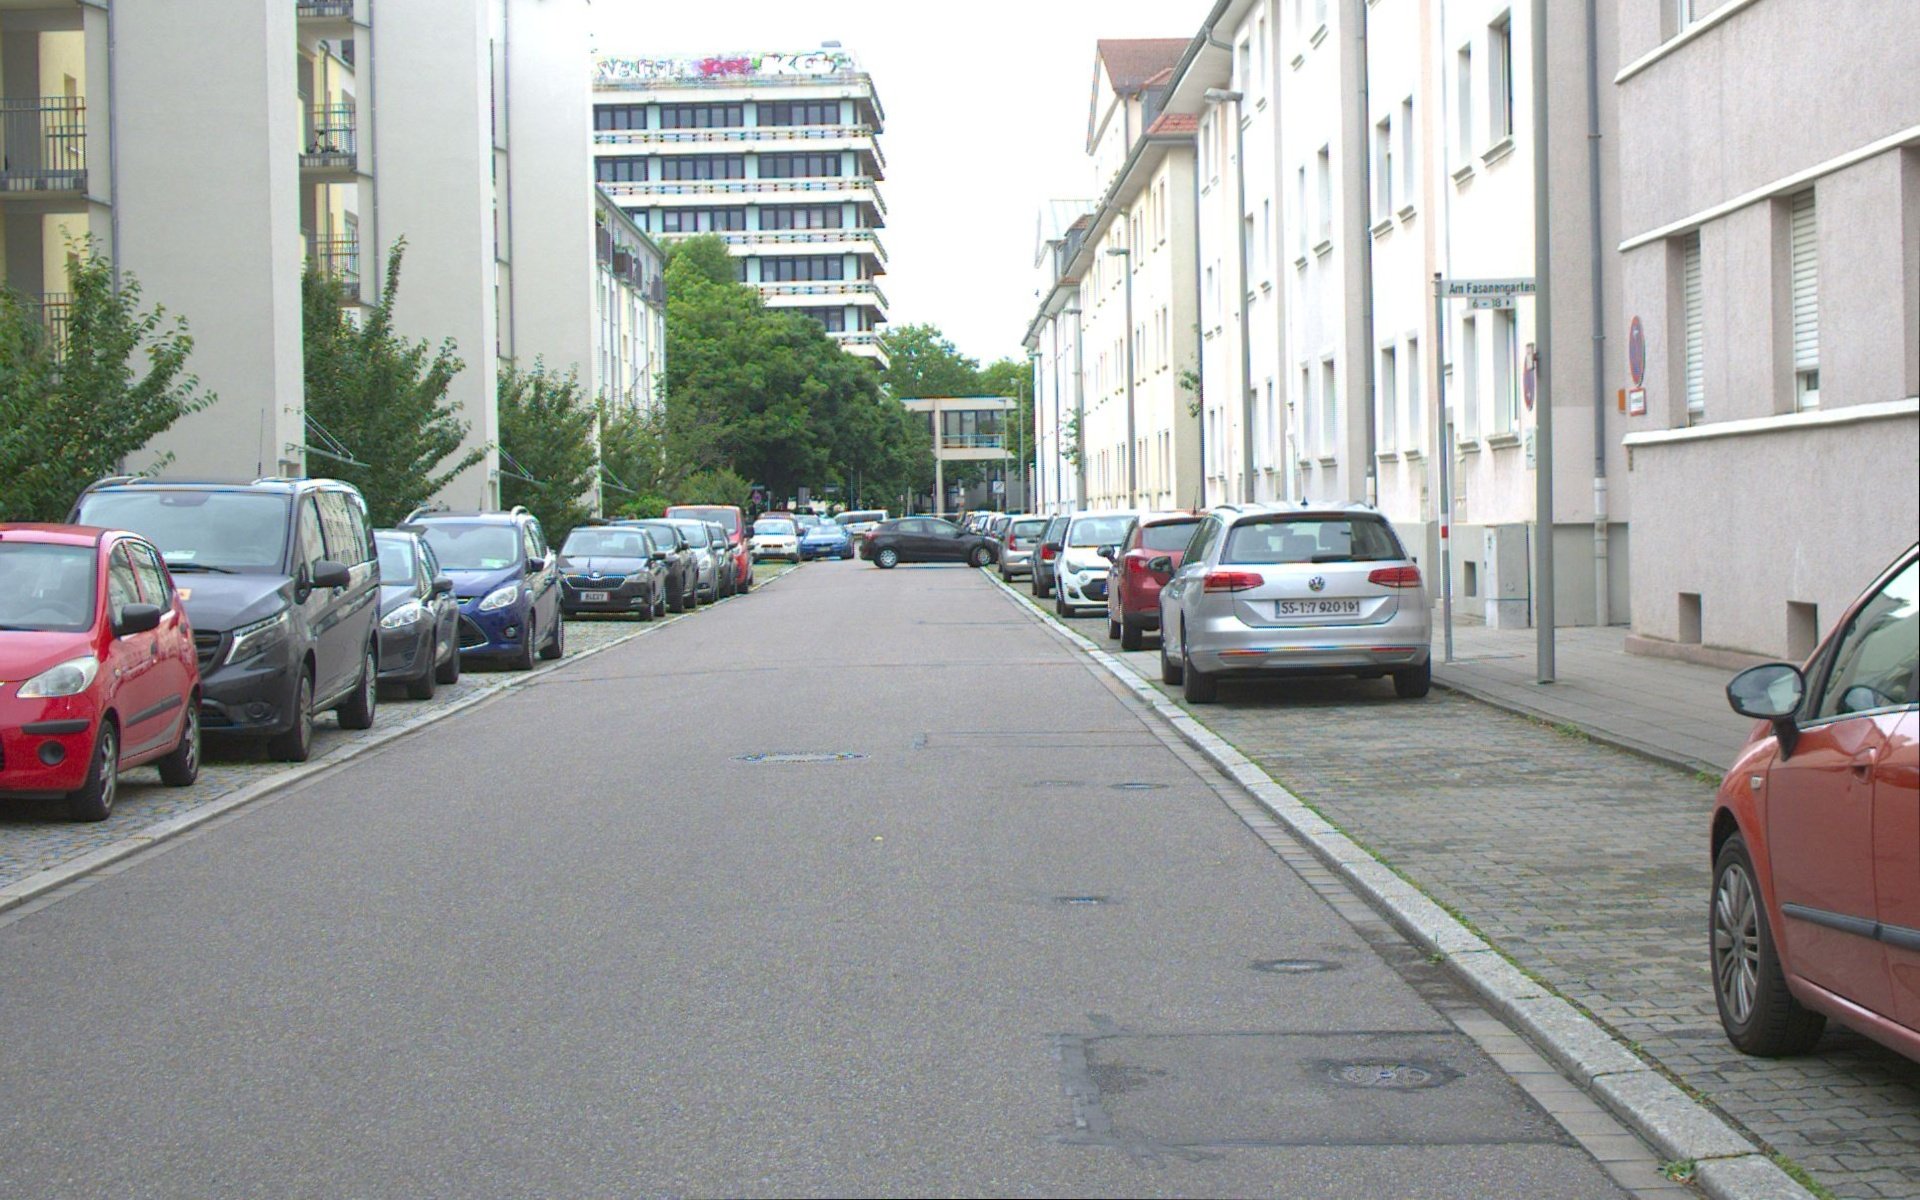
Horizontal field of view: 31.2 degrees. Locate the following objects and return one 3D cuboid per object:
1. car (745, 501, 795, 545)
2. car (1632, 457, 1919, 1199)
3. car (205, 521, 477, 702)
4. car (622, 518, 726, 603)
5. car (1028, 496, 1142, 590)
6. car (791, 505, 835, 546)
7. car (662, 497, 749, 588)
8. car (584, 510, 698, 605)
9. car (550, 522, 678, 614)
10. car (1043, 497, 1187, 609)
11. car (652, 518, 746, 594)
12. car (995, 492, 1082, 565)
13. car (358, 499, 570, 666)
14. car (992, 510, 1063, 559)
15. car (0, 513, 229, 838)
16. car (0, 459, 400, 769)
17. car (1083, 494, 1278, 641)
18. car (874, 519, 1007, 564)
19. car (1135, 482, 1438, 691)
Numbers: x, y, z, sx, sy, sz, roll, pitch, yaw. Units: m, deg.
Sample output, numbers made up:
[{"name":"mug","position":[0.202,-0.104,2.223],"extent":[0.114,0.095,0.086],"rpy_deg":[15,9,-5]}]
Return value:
[{"name":"car","position":[-6.469,-2.646,117.193],"extent":[1.539,1.445,3.742],"rpy_deg":[0,2,-1]},{"name":"car","position":[2.749,0.426,7.618],"extent":[1.696,1.520,3.826],"rpy_deg":[-2,2,0]},{"name":"car","position":[-5.474,0.050,30.888],"extent":[1.830,1.454,4.260],"rpy_deg":[0,2,-2]},{"name":"car","position":[-5.462,-0.784,66.099],"extent":[1.671,1.520,4.253],"rpy_deg":[0,2,-1]},{"name":"car","position":[2.186,-1.032,60.852],"extent":[1.819,1.571,3.753],"rpy_deg":[0,2,-1]},{"name":"car","position":[-5.476,-2.774,127.951],"extent":[1.539,1.445,3.742],"rpy_deg":[-2,2,-3]},{"name":"car","position":[-5.630,-1.301,76.346],"extent":[1.671,1.931,3.742],"rpy_deg":[0,2,-1]},{"name":"car","position":[-5.514,-0.759,59.766],"extent":[1.671,1.558,3.664],"rpy_deg":[0,2,-1]},{"name":"car","position":[-5.428,-0.531,54.265],"extent":[1.671,1.347,3.817],"rpy_deg":[0,2,-1]},{"name":"car","position":[2.158,-0.698,48.748],"extent":[1.819,1.499,3.753],"rpy_deg":[0,2,-1]},{"name":"car","position":[-5.365,-0.933,70.974],"extent":[1.671,1.482,3.742],"rpy_deg":[0,2,-1]},{"name":"car","position":[1.741,-1.628,77.480],"extent":[1.819,1.571,3.884],"rpy_deg":[0,2,-1]},{"name":"car","position":[-5.191,-0.240,36.436],"extent":[1.769,1.637,4.356],"rpy_deg":[0,2,-2]},{"name":"car","position":[2.053,-2.015,105.180],"extent":[1.993,1.393,4.001],"rpy_deg":[1,2,-1]},{"name":"car","position":[-5.176,0.330,18.973],"extent":[1.563,1.563,3.643],"rpy_deg":[1,2,-2]},{"name":"car","position":[-5.167,0.004,24.010],"extent":[1.879,1.897,5.032],"rpy_deg":[1,2,-3]},{"name":"car","position":[2.323,-0.396,37.103],"extent":[1.670,1.415,4.001],"rpy_deg":[-3,2,-2]},{"name":"car","position":[-0.535,-1.659,96.702],"extent":[3.729,1.210,1.544],"rpy_deg":[0,2,1]},{"name":"car","position":[2.421,-0.174,26.561],"extent":[1.755,1.462,4.601],"rpy_deg":[0,2,-2]}]
